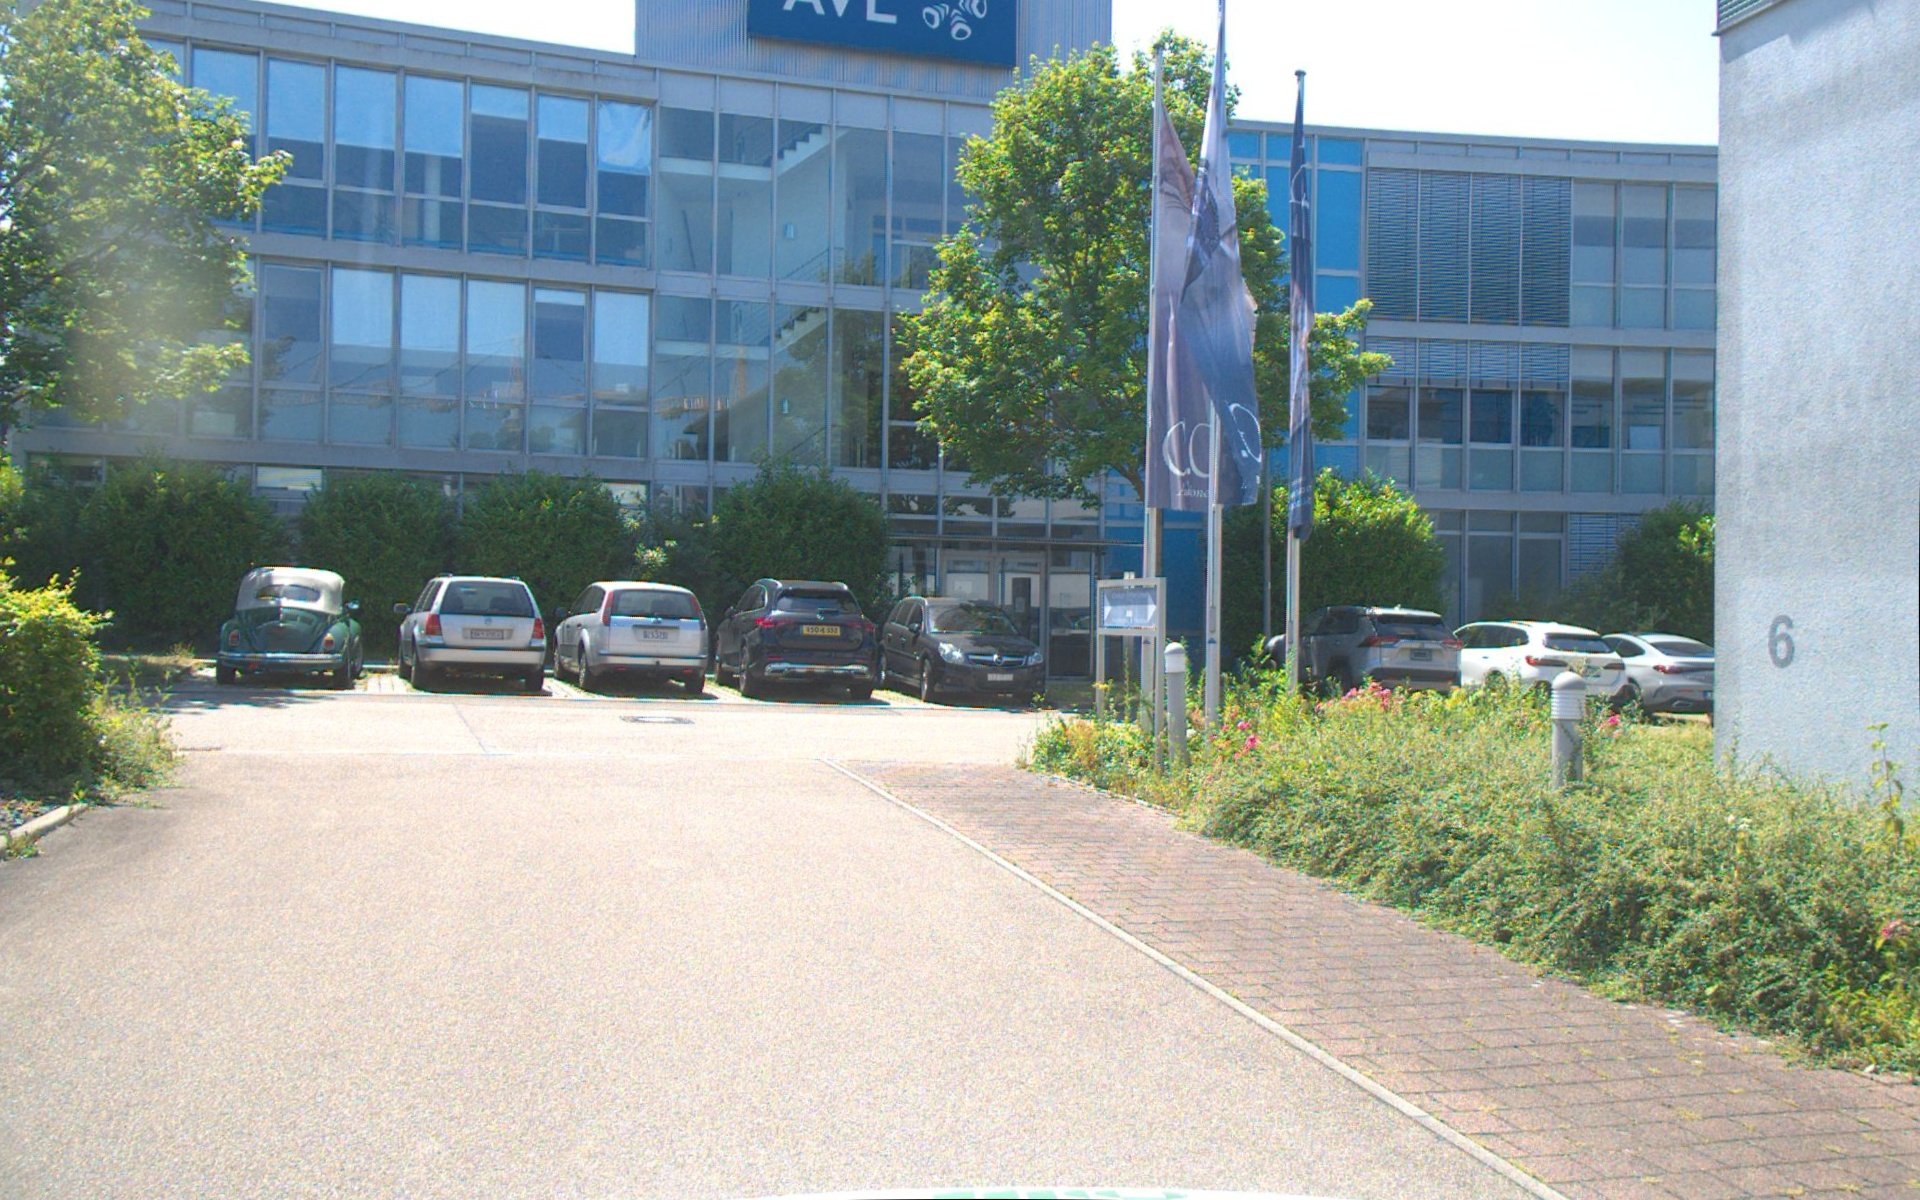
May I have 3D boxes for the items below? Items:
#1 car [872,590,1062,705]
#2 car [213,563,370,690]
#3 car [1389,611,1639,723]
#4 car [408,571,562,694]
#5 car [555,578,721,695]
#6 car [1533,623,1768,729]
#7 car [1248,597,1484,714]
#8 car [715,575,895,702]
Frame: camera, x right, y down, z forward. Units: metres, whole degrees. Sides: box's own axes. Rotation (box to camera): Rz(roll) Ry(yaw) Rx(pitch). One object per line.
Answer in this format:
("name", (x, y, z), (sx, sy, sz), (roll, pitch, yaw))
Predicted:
("car", (0.005, 0.664, 25.104), (1.741, 1.507, 4.240), (2, 1, -16))
("car", (-8.731, 0.290, 21.830), (1.517, 1.474, 3.637), (3, 0, -17))
("car", (8.969, 1.046, 27.201), (1.708, 1.517, 4.321), (3, 0, -16))
("car", (-6.593, 0.399, 22.732), (1.706, 1.474, 3.632), (3, 0, -21))
("car", (-4.731, 0.479, 23.920), (1.739, 1.474, 3.632), (3, 0, -21))
("car", (11.466, 1.206, 27.814), (1.703, 1.454, 4.333), (3, 0, -7))
("car", (6.486, 0.835, 26.959), (1.790, 1.648, 4.321), (2, 1, -16))
("car", (-2.387, 0.506, 24.527), (1.896, 1.638, 3.969), (3, 0, -16))
